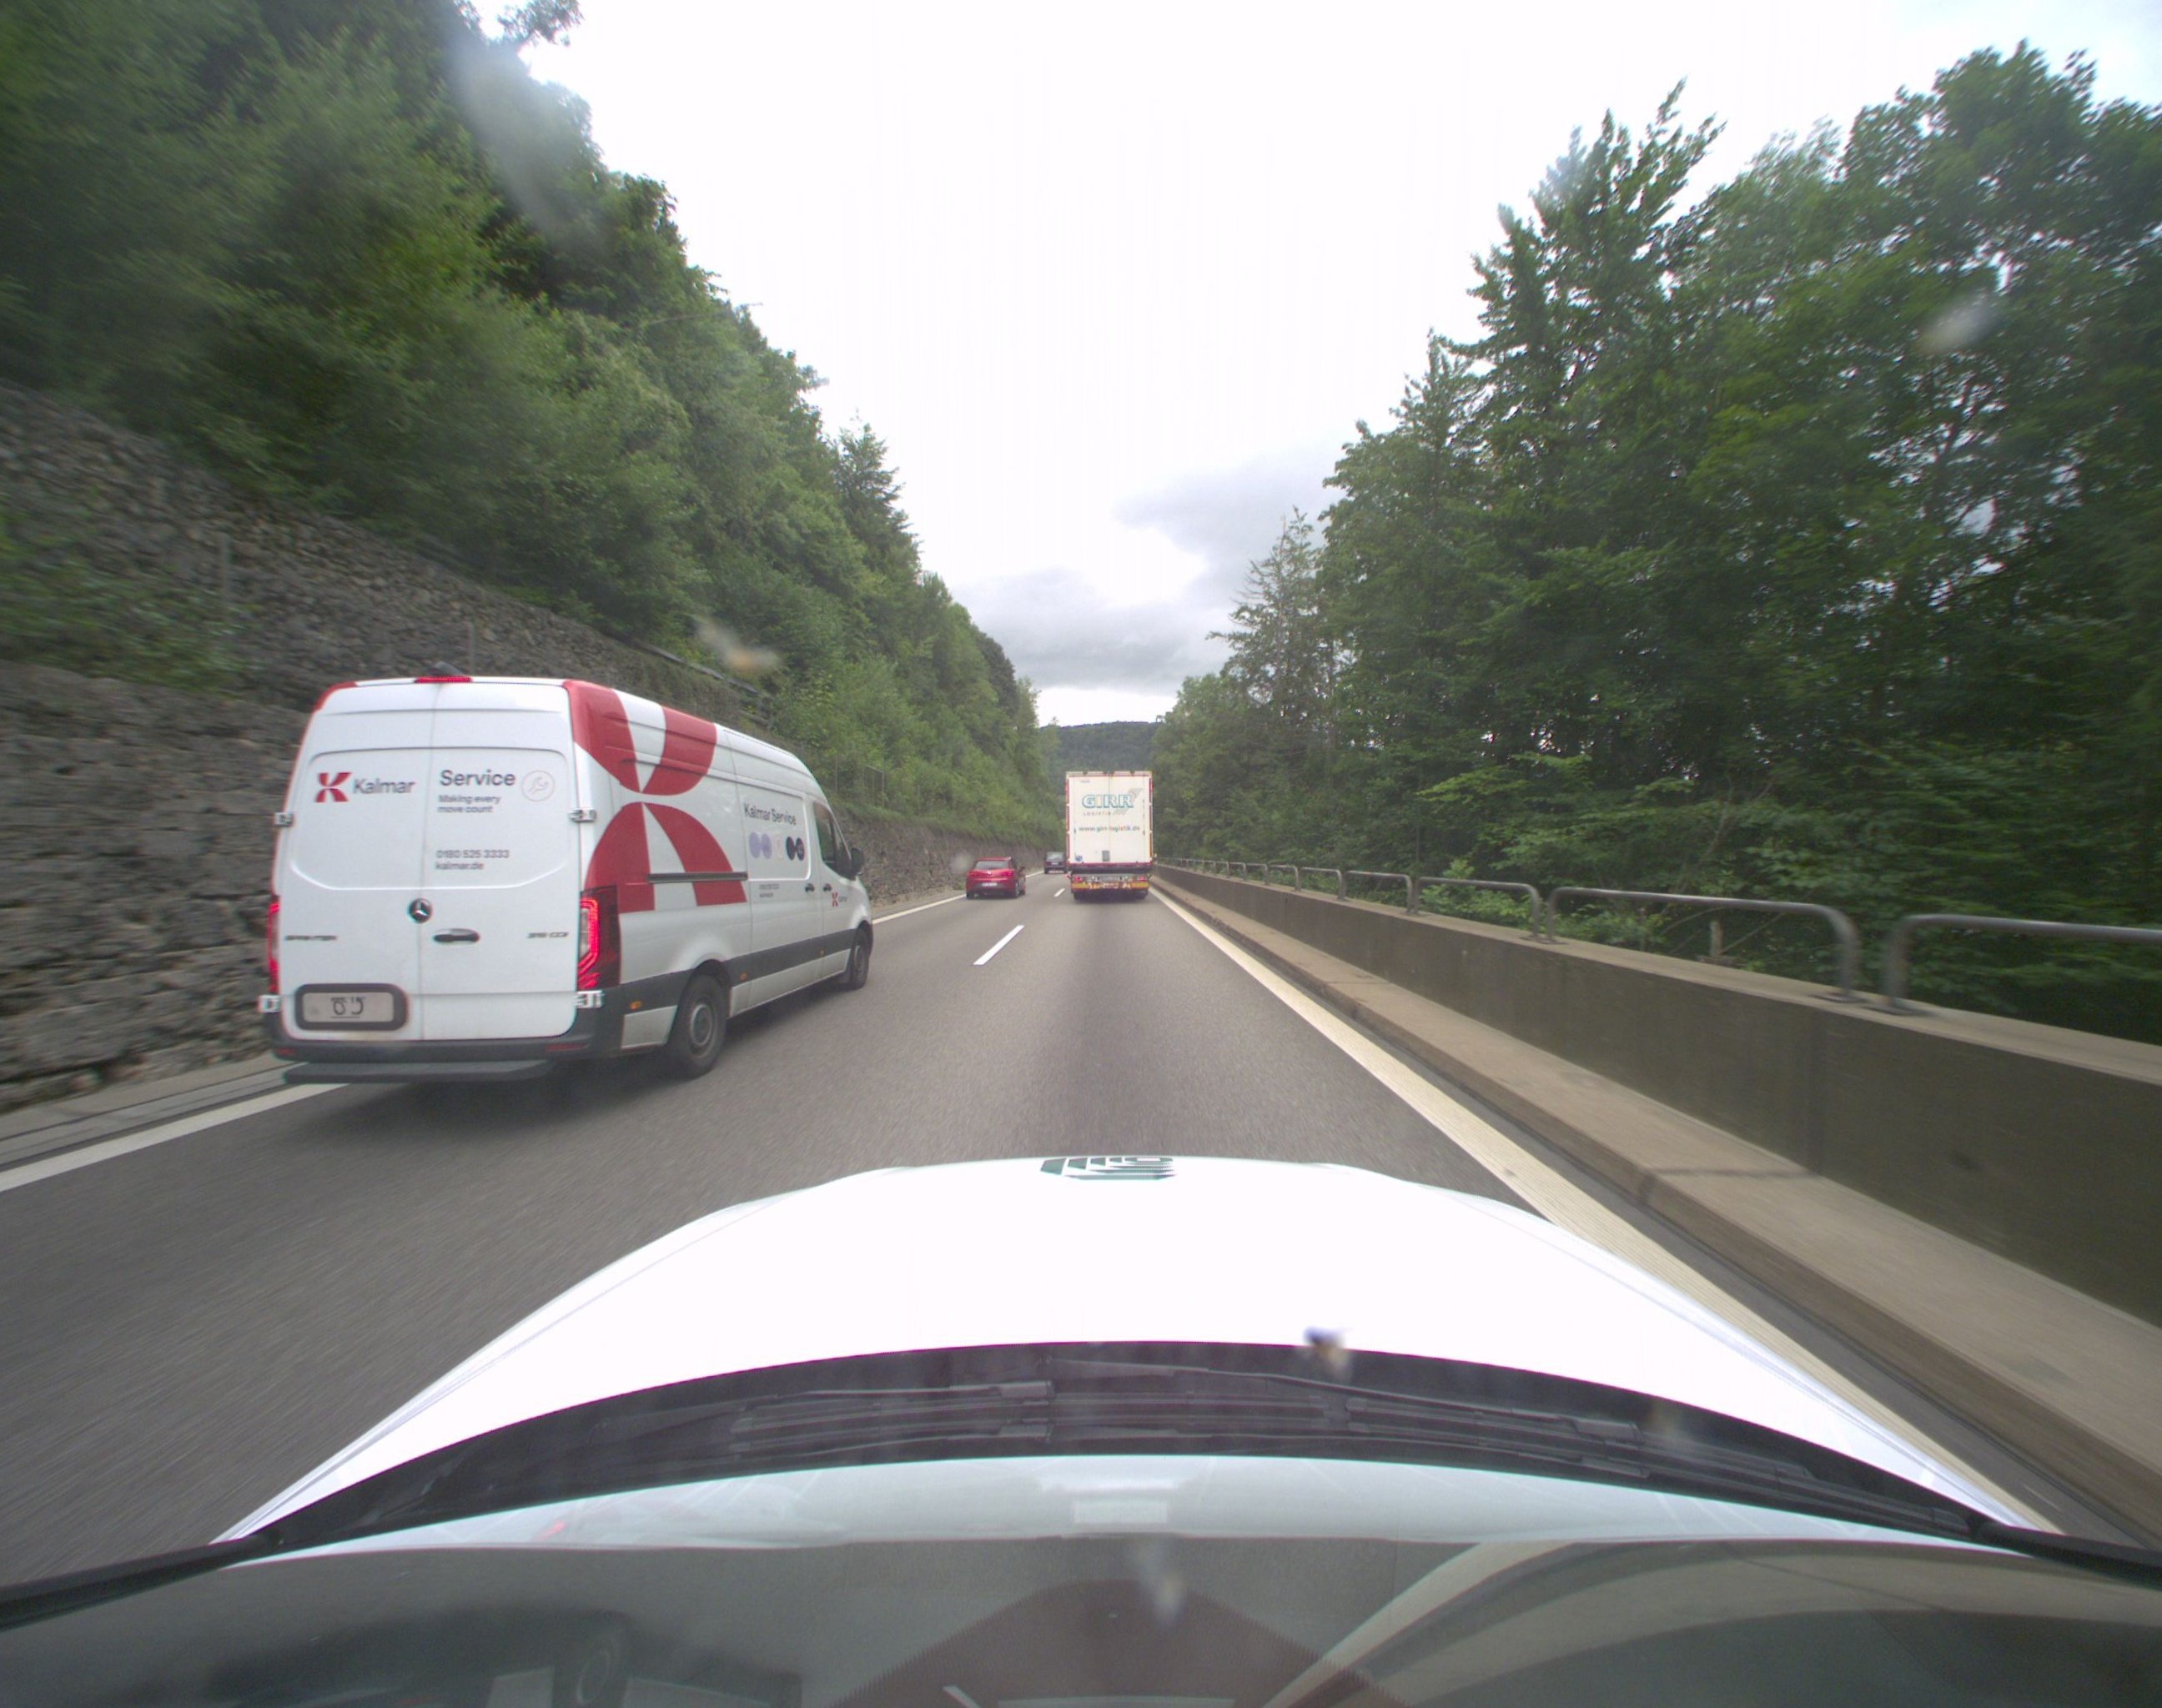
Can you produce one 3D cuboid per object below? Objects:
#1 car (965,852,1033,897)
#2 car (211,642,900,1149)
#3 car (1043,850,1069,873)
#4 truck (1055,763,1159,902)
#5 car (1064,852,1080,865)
[{"bbox_3d":[-2.844,0.701,29.168,1.759,1.460,4.414,-1,0,3],"label":"car"},{"bbox_3d":[-3.431,0.233,7.361,2.019,2.585,6.275,-1,-1,1],"label":"car"},{"bbox_3d":[-1.850,0.550,61.520,1.663,1.639,4.069,-1,0,2],"label":"car"},{"bbox_3d":[0.962,-0.604,28.141,2.897,3.960,9.284,-1,0,3],"label":"truck"},{"bbox_3d":[-1.078,0.502,97.604,1.722,1.486,4.001,-1,0,2],"label":"car"}]
